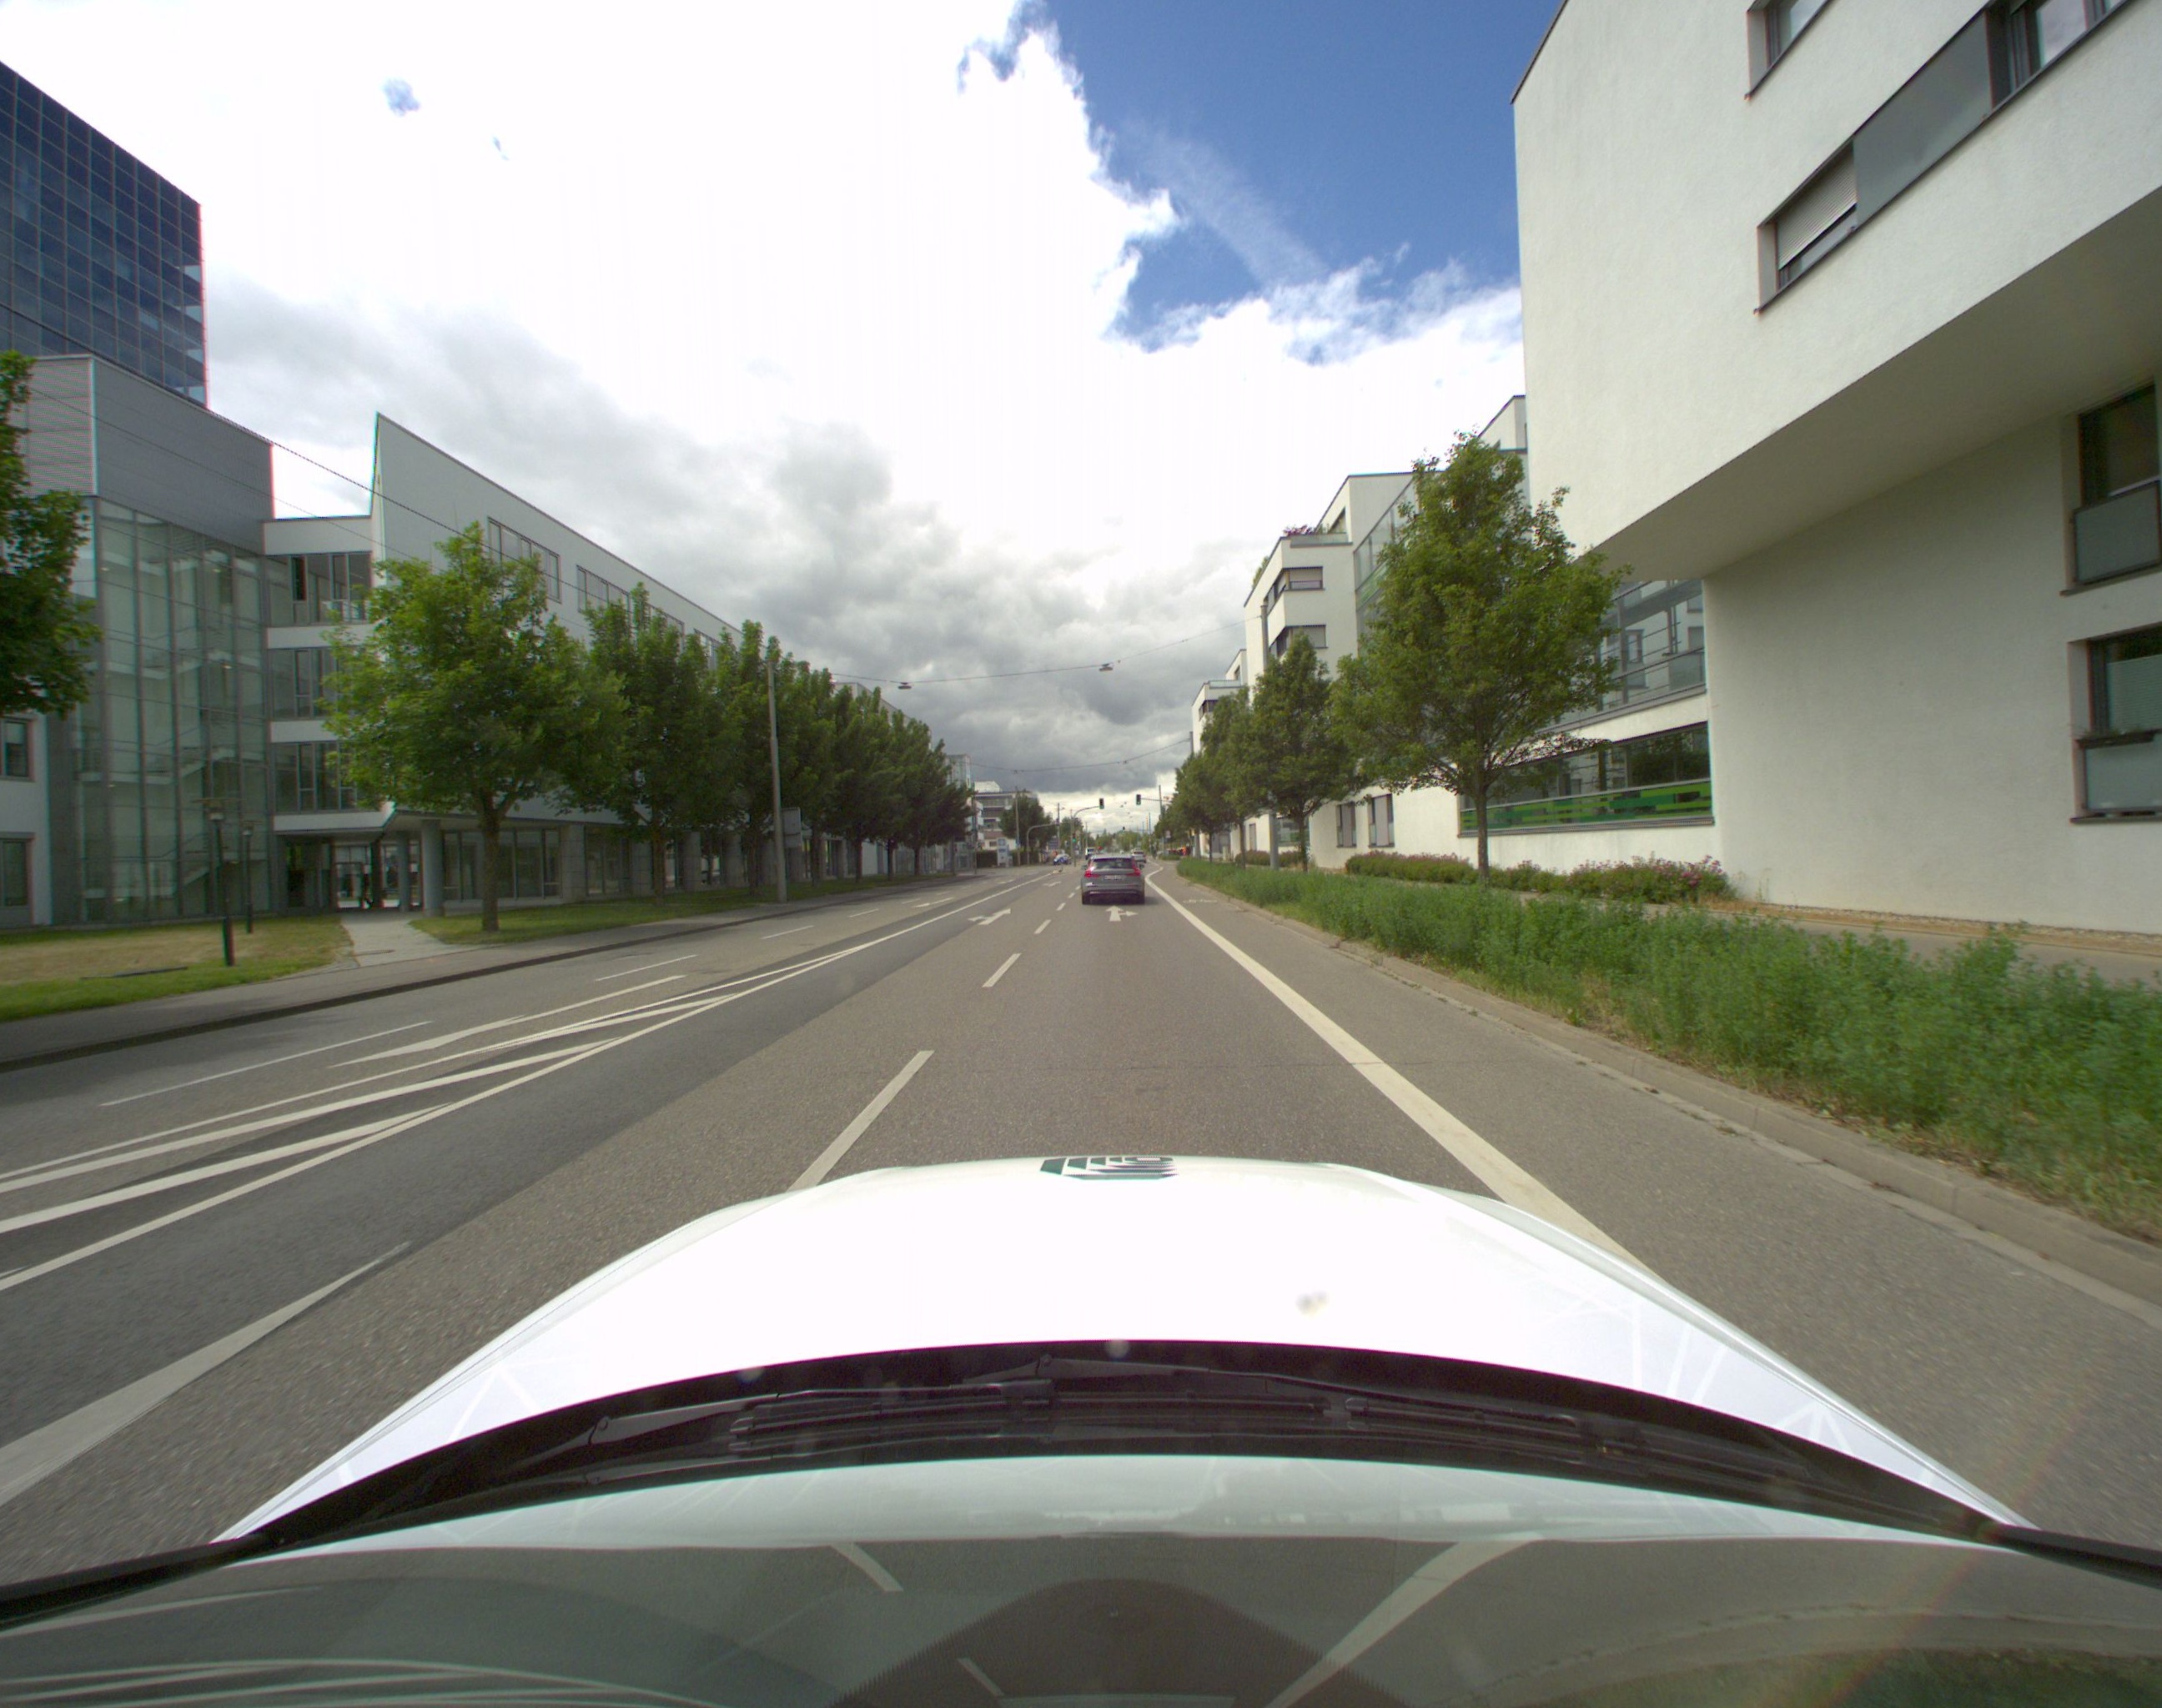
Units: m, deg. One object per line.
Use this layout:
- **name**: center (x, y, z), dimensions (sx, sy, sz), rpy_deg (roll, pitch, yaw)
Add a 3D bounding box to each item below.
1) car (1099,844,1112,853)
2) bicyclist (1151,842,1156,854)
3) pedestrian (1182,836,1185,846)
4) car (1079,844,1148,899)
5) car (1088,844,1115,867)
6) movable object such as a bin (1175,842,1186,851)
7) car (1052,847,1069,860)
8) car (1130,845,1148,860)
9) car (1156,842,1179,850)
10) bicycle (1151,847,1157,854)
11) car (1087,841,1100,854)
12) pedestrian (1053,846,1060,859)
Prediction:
- **car**: center (4.482, -1.019, 146.680), dimensions (1.876, 1.552, 4.547), rpy_deg (-4, -1, 6)
- **bicyclist**: center (11.216, -0.932, 125.759), dimensions (0.635, 1.675, 0.891), rpy_deg (-6, 0, 4)
- **pedestrian**: center (17.650, -2.191, 140.282), dimensions (0.503, 1.765, 0.503), rpy_deg (-1, -1, 20)
- **car**: center (1.067, 0.502, 24.927), dimensions (1.886, 1.554, 4.006), rpy_deg (0, 0, 5)
- **car**: center (1.536, 0.121, 61.916), dimensions (1.986, 1.717, 4.001), rpy_deg (0, 0, 1)
- **movable object such as a bin**: center (17.430, -1.331, 142.240), dimensions (1.306, 1.435, 1.259), rpy_deg (-3, -1, 40)
- **car**: center (-2.728, -0.068, 109.500), dimensions (2.017, 1.445, 5.052), rpy_deg (-4, 0, 2)
- **car**: center (6.783, -0.205, 95.982), dimensions (1.985, 1.695, 4.003), rpy_deg (0, 0, 3)
- **car**: center (18.095, -1.759, 171.011), dimensions (4.677, 1.493, 2.047), rpy_deg (-1, 1, 2)
- **bicycle**: center (11.251, -0.528, 125.587), dimensions (0.635, 1.063, 1.979), rpy_deg (-6, 0, 4)
- **car**: center (2.476, -1.287, 164.054), dimensions (2.133, 2.471, 6.080), rpy_deg (-4, 0, 4)
- **pedestrian**: center (-3.736, -0.268, 122.950), dimensions (0.815, 2.014, 0.717), rpy_deg (0, -1, -44)
